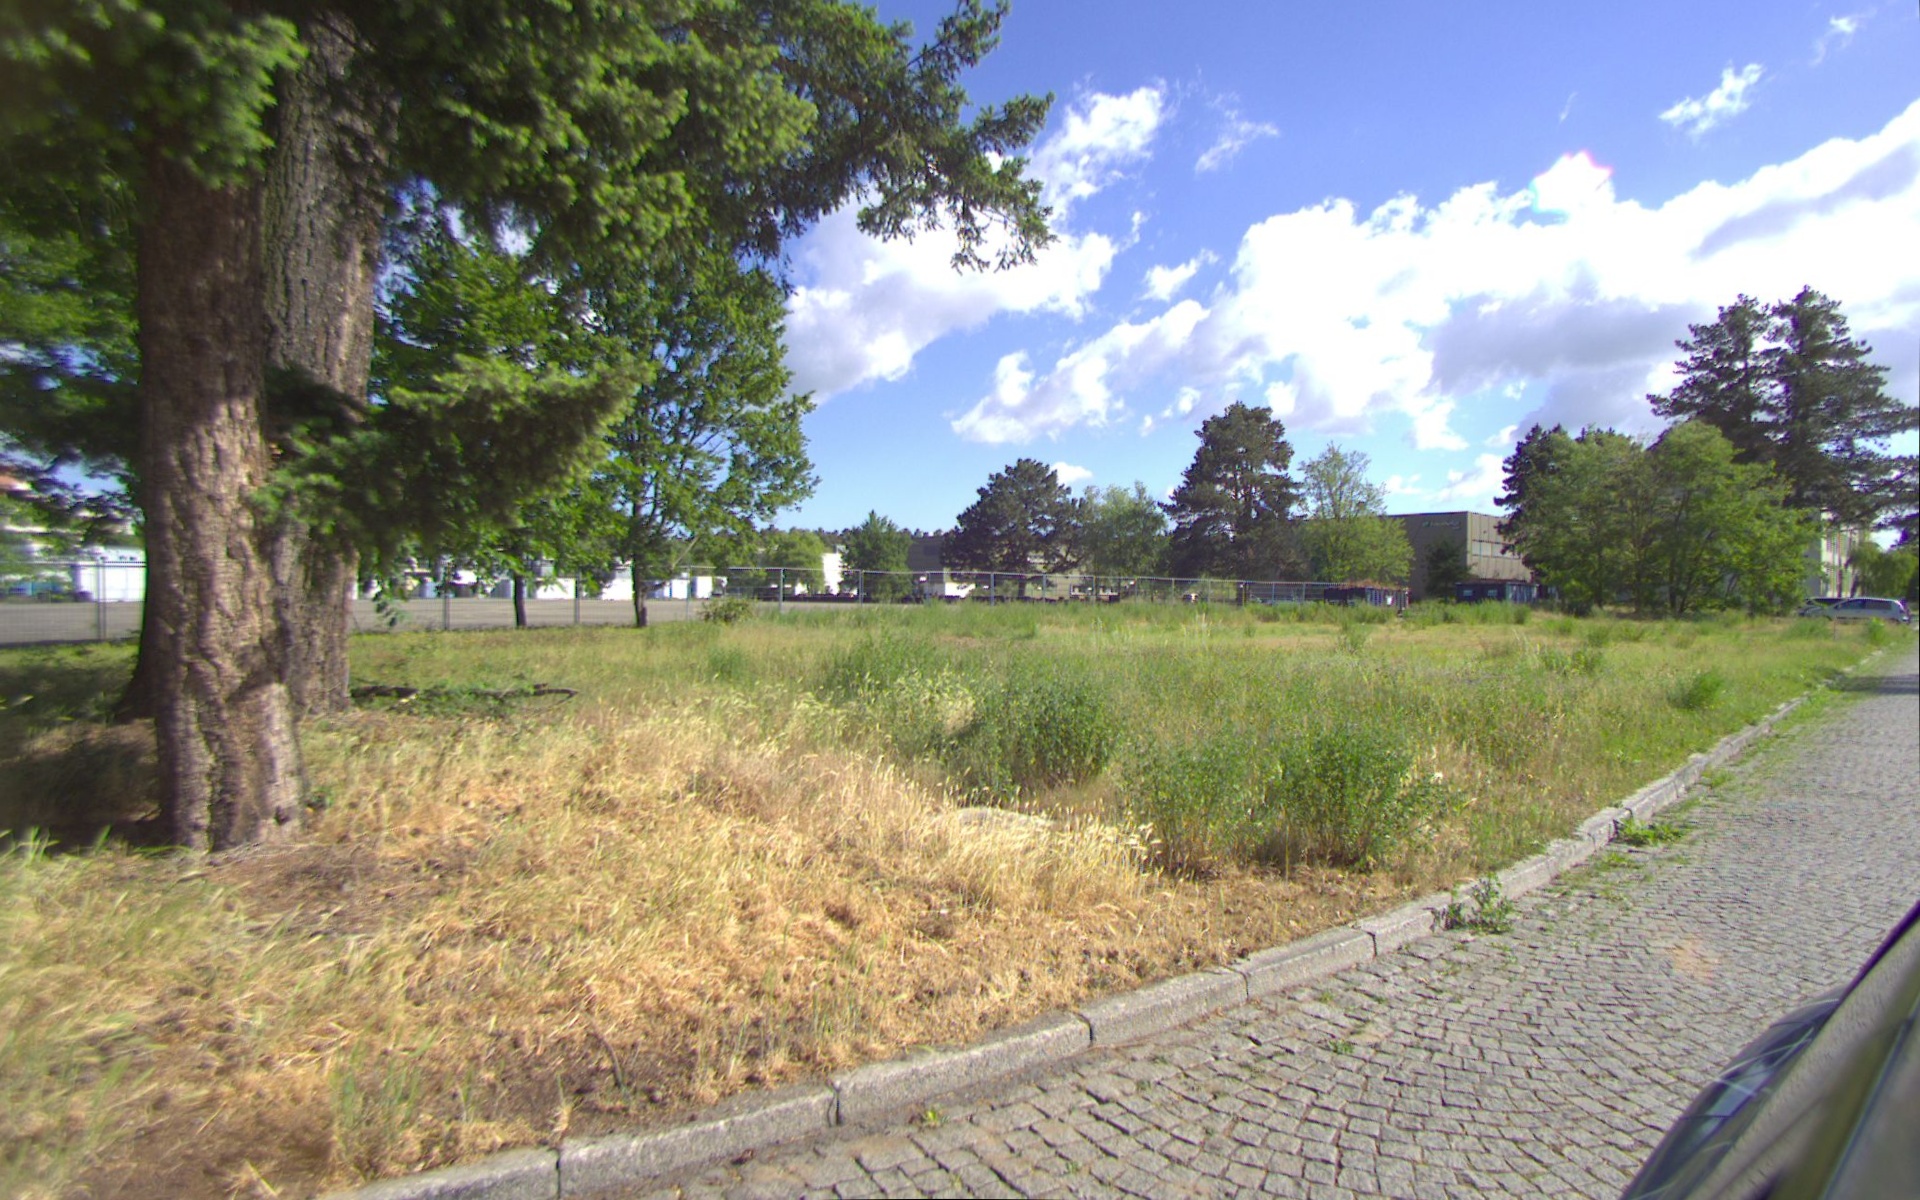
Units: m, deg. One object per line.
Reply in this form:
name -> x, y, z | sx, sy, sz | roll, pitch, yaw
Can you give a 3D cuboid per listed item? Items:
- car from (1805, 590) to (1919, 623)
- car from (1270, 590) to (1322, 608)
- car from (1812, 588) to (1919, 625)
car -> 47.835, 0.298, 53.672 | 4.513, 1.482, 1.810 | 4, 3, 43
car -> 29.031, -0.090, 87.545 | 1.716, 1.440, 3.989 | 2, -1, -44
car -> 42.699, 0.274, 47.691 | 3.743, 1.494, 1.724 | 5, 4, 44
